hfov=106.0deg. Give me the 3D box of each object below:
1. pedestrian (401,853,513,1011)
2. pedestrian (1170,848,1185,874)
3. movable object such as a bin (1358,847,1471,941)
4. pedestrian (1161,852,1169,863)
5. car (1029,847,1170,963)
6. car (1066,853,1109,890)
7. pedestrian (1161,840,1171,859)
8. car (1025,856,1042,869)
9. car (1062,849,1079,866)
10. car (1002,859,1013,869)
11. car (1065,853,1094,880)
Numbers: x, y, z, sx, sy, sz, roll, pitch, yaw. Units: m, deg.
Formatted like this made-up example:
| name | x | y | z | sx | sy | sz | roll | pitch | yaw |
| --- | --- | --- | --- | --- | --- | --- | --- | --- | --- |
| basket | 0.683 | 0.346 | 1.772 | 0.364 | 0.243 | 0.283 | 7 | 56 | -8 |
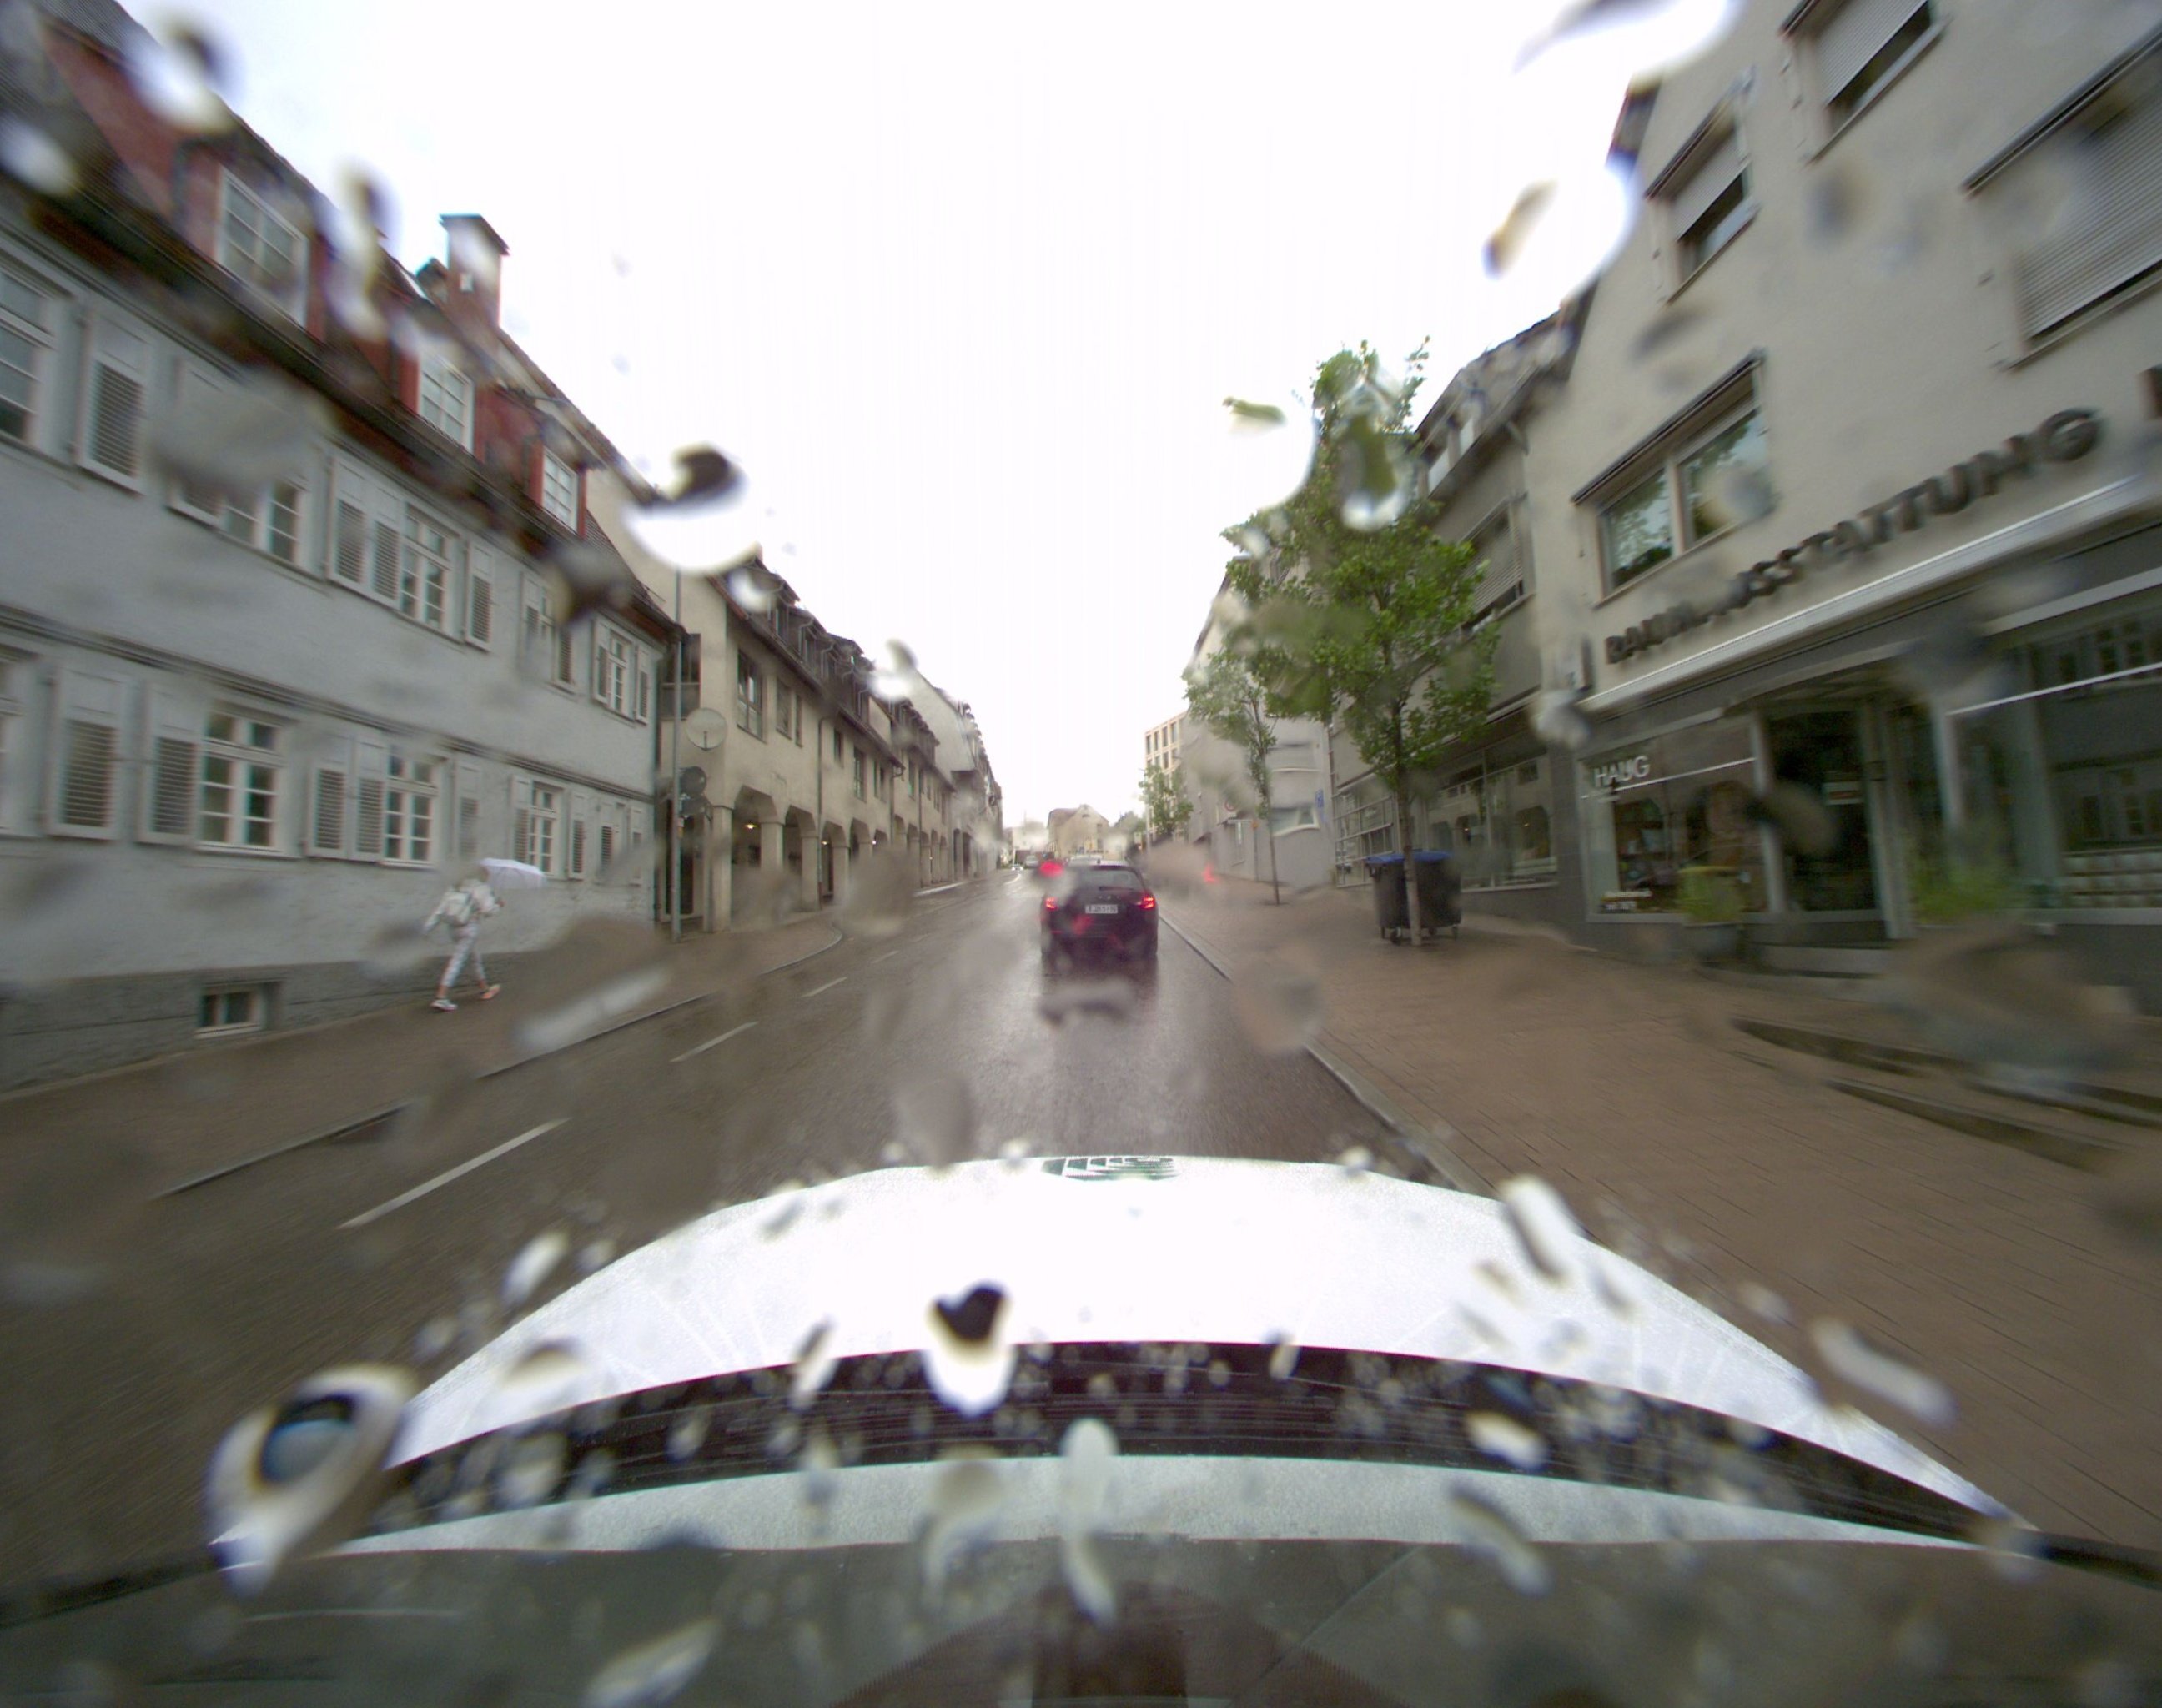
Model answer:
| name | x | y | z | sx | sy | sz | roll | pitch | yaw |
| --- | --- | --- | --- | --- | --- | --- | --- | --- | --- |
| pedestrian | -7.152 | 0.858 | 9.367 | 0.685 | 1.740 | 0.735 | 0 | 0 | 2 |
| pedestrian | 6.048 | 0.414 | 50.957 | 0.733 | 1.542 | 1.038 | -5 | -1 | 2 |
| movable object such as a bin | 5.102 | 0.585 | 12.571 | 1.230 | 1.335 | 1.173 | -3 | 0 | 1 |
| pedestrian | 9.202 | 0.337 | 89.142 | 0.670 | 1.162 | 0.635 | -3 | -1 | -1 |
| car | 0.323 | 0.722 | 13.623 | 1.937 | 1.567 | 4.418 | -2 | 0 | 1 |
| car | 0.255 | 0.757 | 36.252 | 1.673 | 1.510 | 3.585 | -2 | 0 | -3 |
| pedestrian | 9.122 | -0.483 | 87.523 | 0.780 | 1.940 | 1.021 | -3 | -1 | -1 |
| car | -5.975 | 1.038 | 102.870 | 1.669 | 1.510 | 3.593 | -2 | 0 | 5 |
| car | -1.355 | 0.443 | 108.628 | 1.986 | 2.013 | 4.001 | -3 | 0 | 1 |
| car | -11.408 | 1.505 | 125.929 | 1.675 | 1.510 | 3.580 | -2 | 0 | -6 |
| car | -0.119 | 0.742 | 51.153 | 1.676 | 1.560 | 3.998 | -2 | 0 | -1 |
